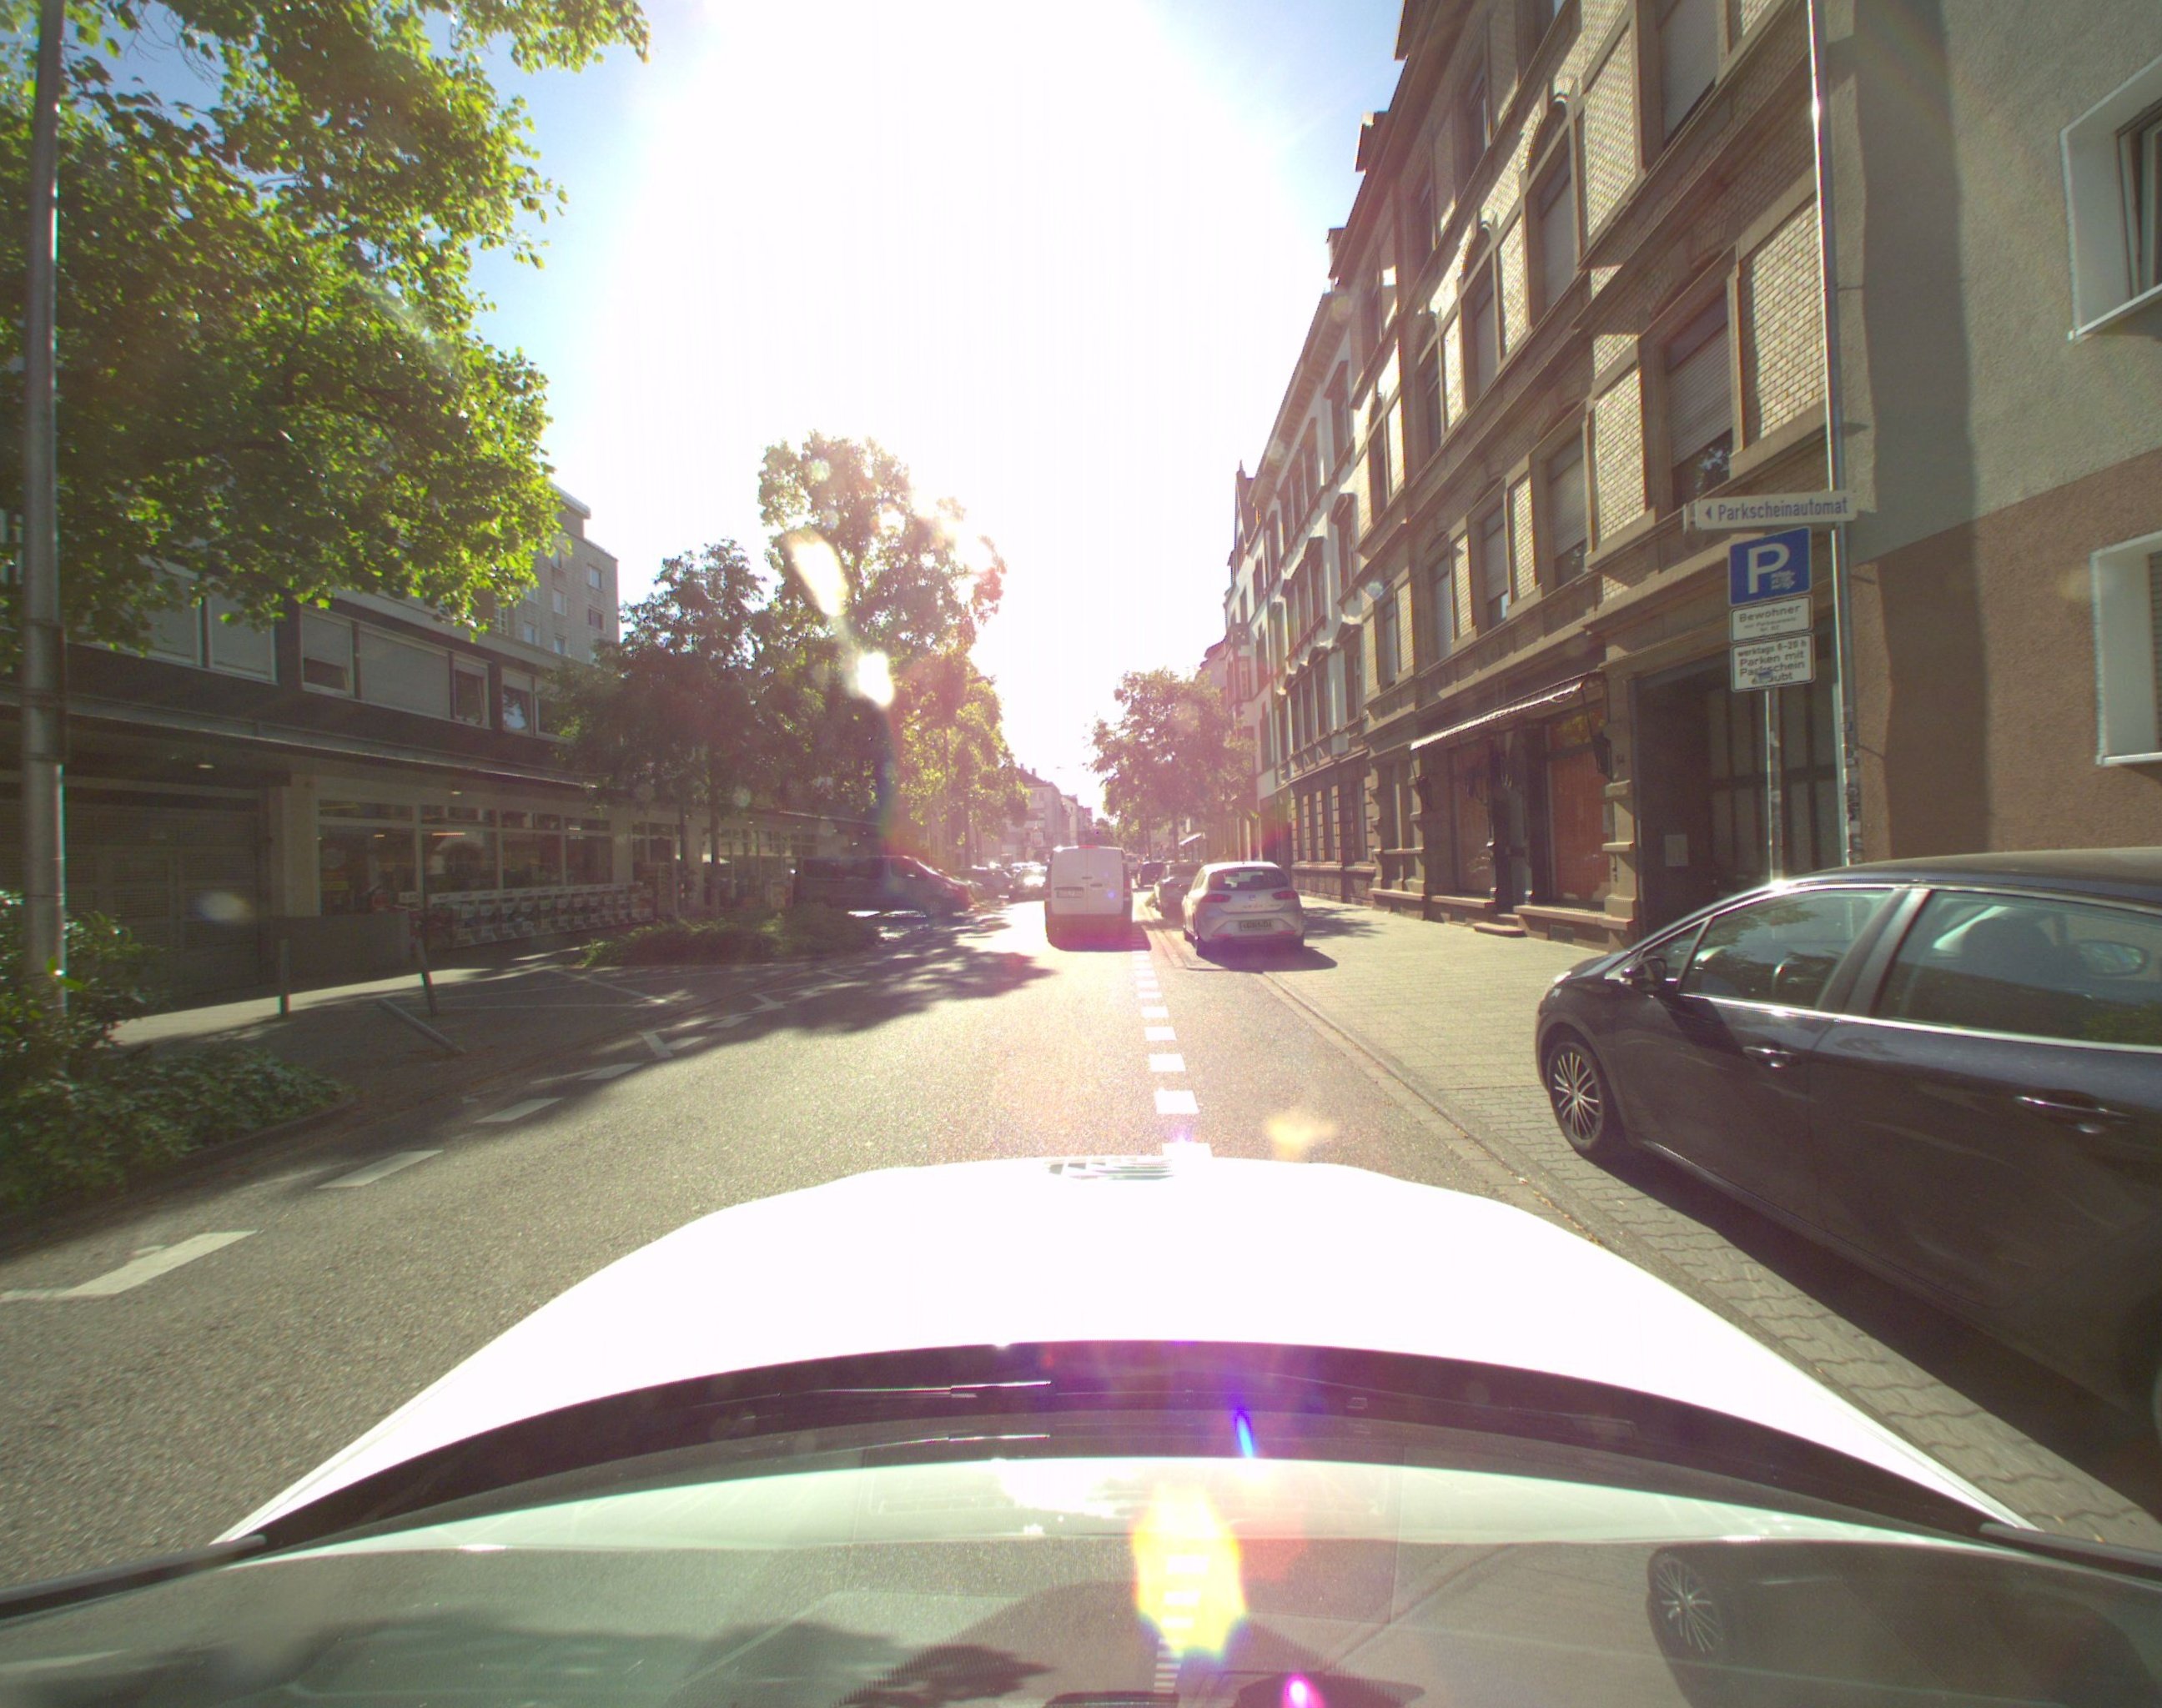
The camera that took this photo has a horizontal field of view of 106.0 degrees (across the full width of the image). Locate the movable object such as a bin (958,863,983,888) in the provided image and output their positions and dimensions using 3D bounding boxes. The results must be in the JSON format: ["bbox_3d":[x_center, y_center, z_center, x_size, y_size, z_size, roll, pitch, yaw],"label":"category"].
[{"bbox_3d":[-6.850,1.338,50.491,1.222,1.450,1.079,-2,-1,12],"label":"movable object such as a bin"}]

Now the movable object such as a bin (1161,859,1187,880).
[{"bbox_3d":[6.177,1.045,54.323,1.278,1.348,1.095,-2,-1,-40],"label":"movable object such as a bin"}]

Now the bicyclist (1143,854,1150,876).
[{"bbox_3d":[4.673,0.791,58.196,0.438,1.508,0.497,-2,-1,2],"label":"bicyclist"}]

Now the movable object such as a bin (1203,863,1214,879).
[{"bbox_3d":[8.508,1.106,54.239,0.596,1.042,0.546,-2,-1,1],"label":"movable object such as a bin"}]

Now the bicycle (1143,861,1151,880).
[{"bbox_3d":[4.699,1.165,58.007,0.473,1.274,1.218,-2,-1,2],"label":"bicycle"}]

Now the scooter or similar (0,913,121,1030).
[{"bbox_3d":[-11.824,1.307,9.098,1.323,1.223,0.453,0,-2,-32],"label":"scooter or similar"}]

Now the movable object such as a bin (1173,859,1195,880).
[{"bbox_3d":[7.004,1.050,55.469,1.028,1.348,1.116,-2,-1,41],"label":"movable object such as a bin"}]

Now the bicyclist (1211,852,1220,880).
[{"bbox_3d":[7.130,0.633,43.092,0.359,1.477,0.531,-1,-1,3],"label":"bicyclist"}]

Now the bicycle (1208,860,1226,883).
[{"bbox_3d":[7.212,0.935,43.156,0.534,1.148,2.124,-5,-1,1],"label":"bicycle"}]

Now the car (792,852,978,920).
[{"bbox_3d":[-6.033,0.972,25.496,5.272,1.974,2.016,-1,0,2],"label":"car"}]

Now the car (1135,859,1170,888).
[{"bbox_3d":[4.030,1.086,46.434,1.630,1.476,3.580,-3,-1,1],"label":"car"}]

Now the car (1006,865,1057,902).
[{"bbox_3d":[-2.148,1.257,36.299,1.756,1.438,3.962,-3,-1,2],"label":"car"}]

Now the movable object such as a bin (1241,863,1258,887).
[{"bbox_3d":[7.693,0.953,37.198,0.635,1.069,0.639,-2,-1,2],"label":"movable object such as a bin"}]

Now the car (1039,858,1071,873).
[{"bbox_3d":[-3.233,1.446,102.926,3.976,1.640,1.999,-2,-1,-2],"label":"car"}]

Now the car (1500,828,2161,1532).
[{"bbox_3d":[3.159,0.673,2.702,1.702,1.480,3.712,-2,-1,2],"label":"car"}]

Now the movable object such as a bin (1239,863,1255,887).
[{"bbox_3d":[7.707,0.960,37.767,0.635,1.069,0.522,-2,-1,2],"label":"movable object such as a bin"}]

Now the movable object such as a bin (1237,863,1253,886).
[{"bbox_3d":[7.727,0.963,38.354,0.635,1.069,0.632,-2,-1,2],"label":"movable object such as a bin"}]

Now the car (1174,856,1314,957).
[{"bbox_3d":[2.696,0.807,14.338,1.732,1.451,4.001,-2,0,2],"label":"car"}]

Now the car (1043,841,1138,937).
[{"bbox_3d":[0.081,0.715,18.970,1.916,1.914,4.882,-1,0,-3],"label":"car"}]

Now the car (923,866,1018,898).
[{"bbox_3d":[-5.344,1.349,39.636,4.285,1.460,1.764,-1,-1,4],"label":"car"}]

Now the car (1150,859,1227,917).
[{"bbox_3d":[3.013,0.902,23.597,1.732,1.451,4.309,-2,0,2],"label":"car"}]

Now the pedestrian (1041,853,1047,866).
[{"bbox_3d":[-5.072,0.733,110.967,0.681,1.663,0.601,-2,-1,1],"label":"pedestrian"}]

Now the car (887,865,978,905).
[{"bbox_3d":[-6.113,1.260,33.743,3.598,1.552,1.678,-1,-1,-10],"label":"car"}]

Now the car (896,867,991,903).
[{"bbox_3d":[-6.192,1.388,36.966,3.975,1.463,1.812,-1,-1,-1],"label":"car"}]

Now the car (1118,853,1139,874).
[{"bbox_3d":[4.673,0.936,80.432,1.809,1.921,4.645,-2,0,1],"label":"car"}]
